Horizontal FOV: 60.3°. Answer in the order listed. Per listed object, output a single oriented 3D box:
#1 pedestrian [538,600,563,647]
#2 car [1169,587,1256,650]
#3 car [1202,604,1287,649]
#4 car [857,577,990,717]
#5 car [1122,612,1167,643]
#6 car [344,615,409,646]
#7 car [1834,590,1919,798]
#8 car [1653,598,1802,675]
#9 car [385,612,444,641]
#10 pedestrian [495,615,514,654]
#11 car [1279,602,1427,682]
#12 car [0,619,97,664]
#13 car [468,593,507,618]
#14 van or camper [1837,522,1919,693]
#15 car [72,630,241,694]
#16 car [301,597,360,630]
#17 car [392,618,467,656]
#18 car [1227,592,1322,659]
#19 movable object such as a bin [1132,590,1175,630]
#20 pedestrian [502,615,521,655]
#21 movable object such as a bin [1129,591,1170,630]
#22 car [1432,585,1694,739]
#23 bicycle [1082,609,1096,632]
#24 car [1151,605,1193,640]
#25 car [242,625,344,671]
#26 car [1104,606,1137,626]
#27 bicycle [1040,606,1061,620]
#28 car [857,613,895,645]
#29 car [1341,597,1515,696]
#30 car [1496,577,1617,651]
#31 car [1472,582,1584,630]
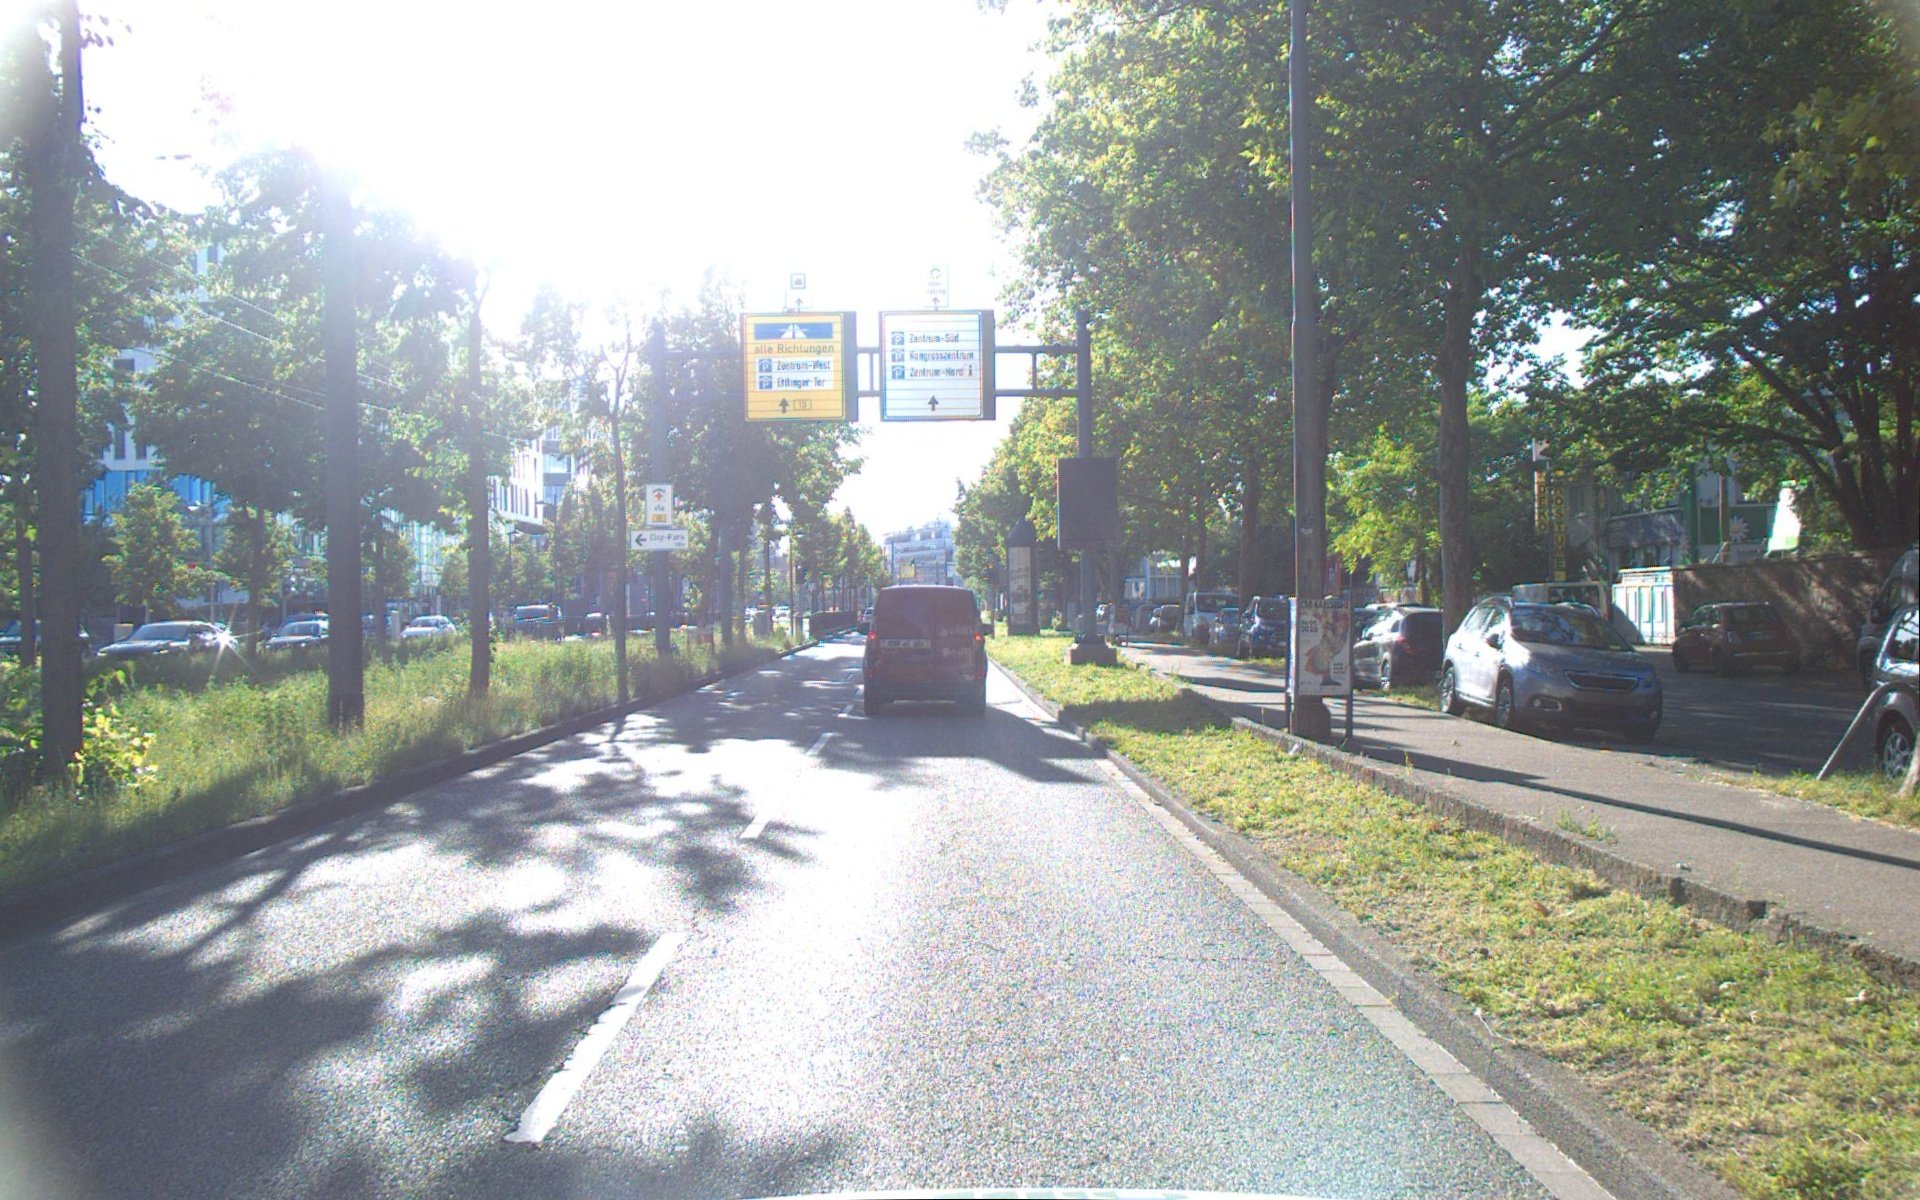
[{"bbox_3d":[-16.475,0.952,66.553,0.804,1.868,0.726,1,-1,-4],"label":"pedestrian"},{"bbox_3d":[8.734,0.656,57.725,2.145,2.049,5.819,1,-1,0],"label":"car"},{"bbox_3d":[8.758,0.806,51.252,1.952,1.312,4.052,1,-1,0],"label":"car"},{"bbox_3d":[-0.616,0.665,24.446,1.773,1.870,3.996,1,-1,-4],"label":"car"},{"bbox_3d":[8.796,1.325,79.100,1.957,1.409,4.747,1,-1,5],"label":"car"},{"bbox_3d":[-32.526,1.690,92.349,1.953,1.637,4.610,1,-1,0],"label":"car"},{"bbox_3d":[8.483,0.748,12.303,1.755,1.663,4.628,1,-1,4],"label":"car"},{"bbox_3d":[16.518,0.769,35.778,1.655,1.498,3.760,-3,-1,4],"label":"car"},{"bbox_3d":[-32.399,1.573,98.394,1.953,1.701,4.610,1,-1,0],"label":"car"},{"bbox_3d":[-18.110,1.365,65.803,0.531,1.523,0.603,1,-1,3],"label":"pedestrian"},{"bbox_3d":[7.642,0.790,32.613,1.952,1.406,4.678,2,-1,2],"label":"car"},{"bbox_3d":[-31.867,1.412,56.972,1.841,1.460,4.610,1,-1,0],"label":"car"},{"bbox_3d":[-39.799,0.508,139.532,1.953,2.049,4.562,1,-1,0],"label":"car"},{"bbox_3d":[16.490,0.067,25.646,2.503,2.731,6.567,-3,0,3],"label":"van or camper"},{"bbox_3d":[-20.039,1.506,41.507,1.952,1.466,4.456,1,-1,1],"label":"car"},{"bbox_3d":[-40.393,0.894,106.243,1.953,2.049,4.562,1,-1,0],"label":"car"},{"bbox_3d":[-23.781,1.638,74.283,1.952,1.599,4.167,-1,0,1],"label":"car"},{"bbox_3d":[8.335,0.668,44.133,1.701,1.671,4.352,1,-1,0],"label":"car"},{"bbox_3d":[9.989,0.522,85.620,2.038,2.049,2.137,1,-1,3],"label":"movable object such as a bin"},{"bbox_3d":[-17.629,1.362,65.044,0.538,1.545,0.589,1,-1,4],"label":"pedestrian"},{"bbox_3d":[10.110,0.571,88.385,2.038,2.049,2.137,1,-1,3],"label":"movable object such as a bin"},{"bbox_3d":[7.090,0.700,19.894,1.756,1.587,4.021,2,-1,2],"label":"car"},{"bbox_3d":[6.155,0.990,78.953,0.483,1.065,1.904,1,-1,1],"label":"bicycle"},{"bbox_3d":[9.628,1.036,75.308,1.627,1.527,2.989,1,-1,2],"label":"car"},{"bbox_3d":[-23.738,1.693,59.046,1.953,1.554,4.318,1,-1,-1],"label":"car"},{"bbox_3d":[11.412,1.167,117.688,1.833,1.391,3.999,1,-1,-1],"label":"car"},{"bbox_3d":[8.438,1.228,153.953,1.878,1.290,0.479,0,-1,0],"label":"bicycle"},{"bbox_3d":[-4.596,1.587,90.944,1.953,1.646,3.999,1,-1,-1],"label":"car"},{"bbox_3d":[7.443,0.722,26.666,1.756,1.463,3.884,1,-1,1],"label":"car"},{"bbox_3d":[17.450,0.420,48.664,2.043,2.049,4.944,0,-1,4],"label":"car"},{"bbox_3d":[23.453,0.247,68.407,4.000,1.883,1.849,1,-1,-1],"label":"car"}]
